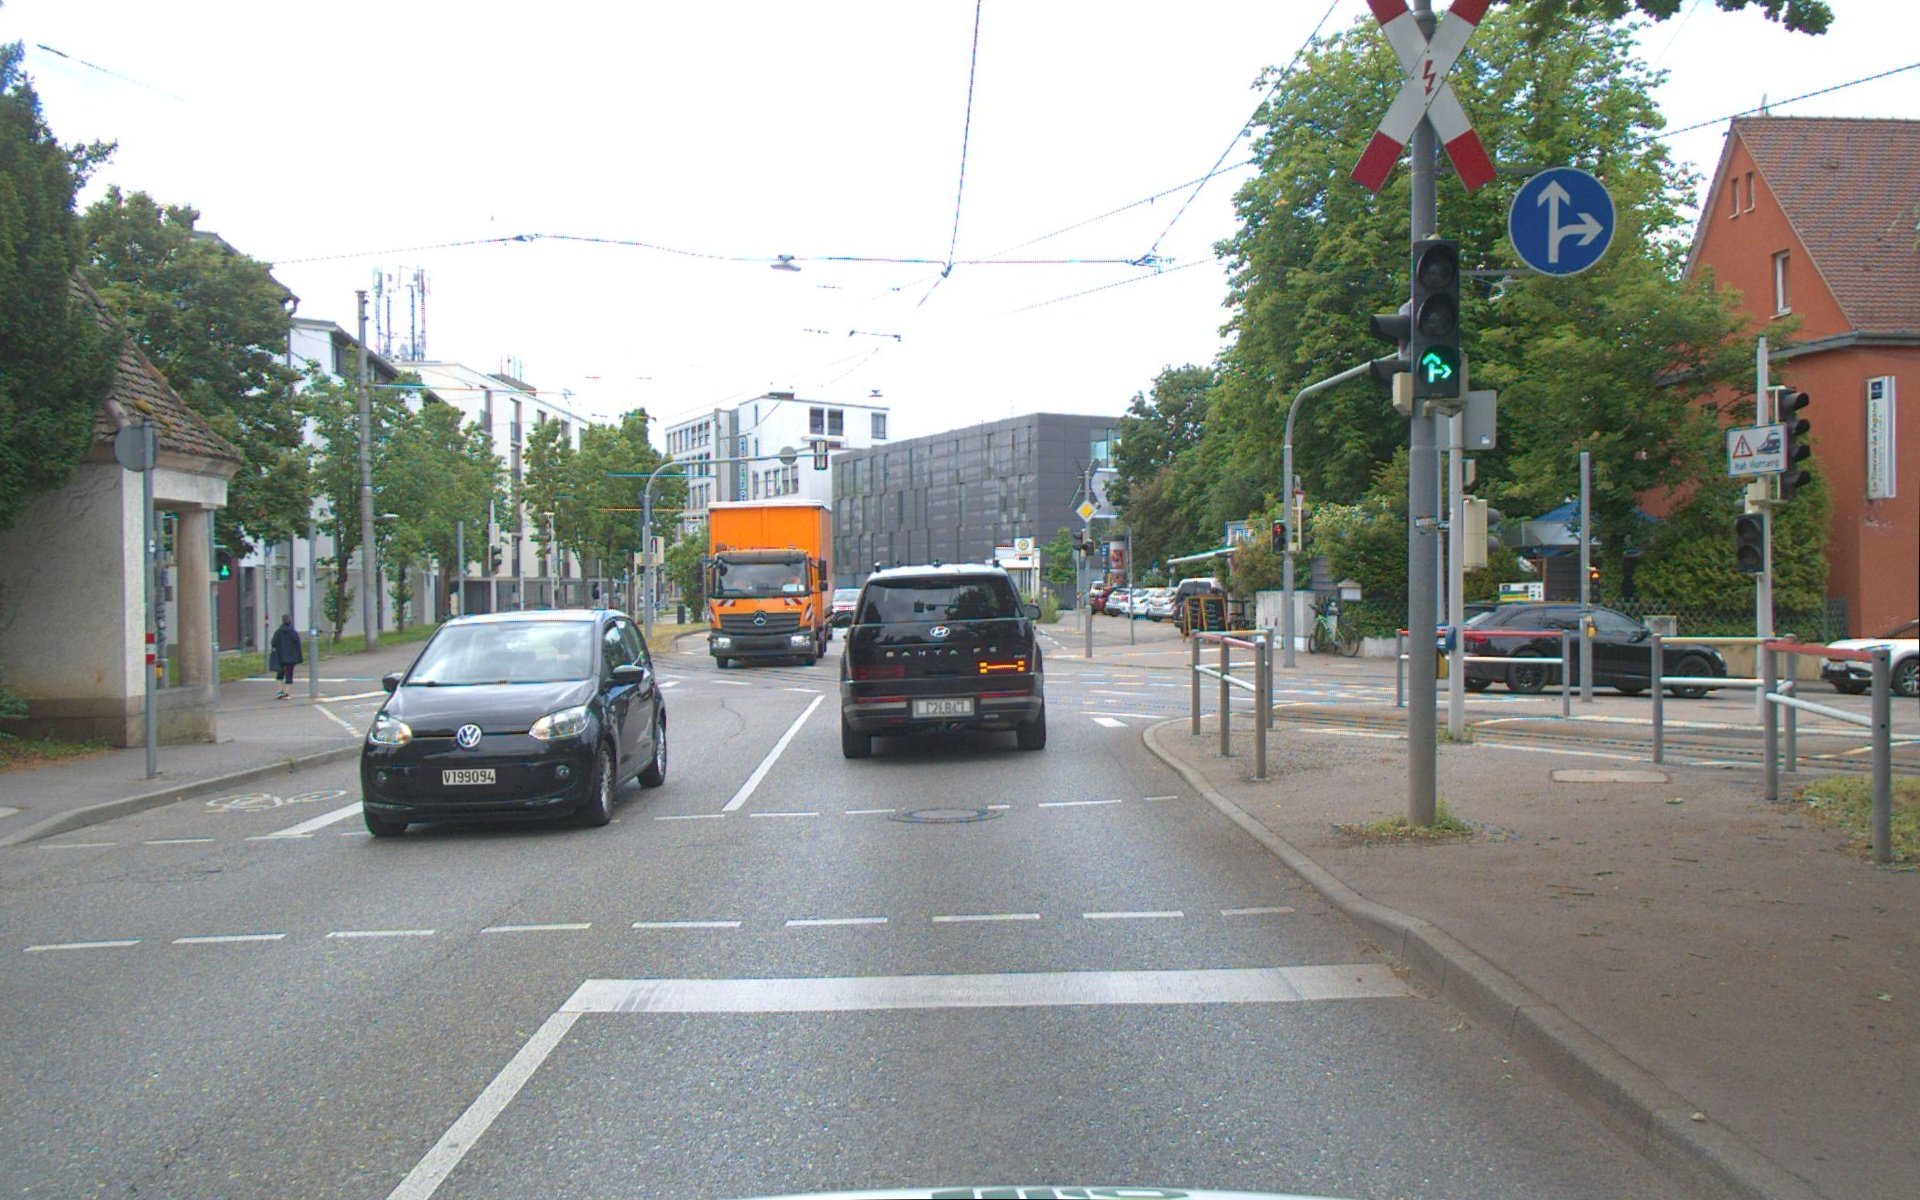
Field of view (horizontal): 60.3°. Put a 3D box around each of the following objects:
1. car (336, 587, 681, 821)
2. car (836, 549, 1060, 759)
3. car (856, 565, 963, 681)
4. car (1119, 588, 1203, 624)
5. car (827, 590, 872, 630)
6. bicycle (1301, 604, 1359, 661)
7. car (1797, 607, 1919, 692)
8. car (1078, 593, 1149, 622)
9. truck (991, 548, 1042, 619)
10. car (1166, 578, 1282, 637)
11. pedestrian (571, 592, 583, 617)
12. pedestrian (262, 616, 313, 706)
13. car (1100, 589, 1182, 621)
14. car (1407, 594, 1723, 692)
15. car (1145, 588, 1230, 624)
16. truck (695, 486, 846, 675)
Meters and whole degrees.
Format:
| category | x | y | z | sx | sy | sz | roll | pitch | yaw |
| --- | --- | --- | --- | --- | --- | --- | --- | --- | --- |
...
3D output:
| category | x | y | z | sx | sy | sz | roll | pitch | yaw |
| --- | --- | --- | --- | --- | --- | --- | --- | --- | --- |
| car | -3.201 | 0.661 | 12.473 | 1.630 | 1.474 | 3.826 | -1 | 0 | -2 |
| car | -0.210 | 0.445 | 16.095 | 1.877 | 1.755 | 4.168 | 1 | 0 | -3 |
| car | -1.060 | 0.394 | 32.269 | 1.819 | 2.069 | 4.433 | -1 | 1 | -5 |
| car | 9.274 | 0.256 | 76.253 | 3.598 | 1.460 | 1.577 | -3 | -1 | -28 |
| car | -4.894 | 0.439 | 73.834 | 1.752 | 1.690 | 4.276 | -2 | 0 | -1 |
| bicycle | 8.545 | 0.736 | 38.258 | 0.538 | 1.158 | 1.872 | 0 | 3 | -13 |
| car | 18.029 | 0.885 | 30.462 | 4.424 | 1.489 | 1.994 | 0 | 0 | -12 |
| car | 8.125 | 0.414 | 87.417 | 3.454 | 1.481 | 1.664 | 1 | -1 | -29 |
| truck | 2.953 | -0.848 | 88.509 | 2.520 | 3.587 | 7.811 | -1 | 0 | 1 |
| car | 8.667 | 0.222 | 54.015 | 1.814 | 1.779 | 4.677 | -1 | 1 | 36 |
| pedestrian | -25.817 | 0.297 | 111.527 | 0.601 | 1.724 | 0.785 | 0 | -1 | -2 |
| pedestrian | -13.251 | 1.190 | 32.615 | 0.662 | 1.673 | 0.818 | -2 | 2 | -7 |
| car | 9.019 | 0.279 | 82.304 | 3.753 | 1.499 | 1.779 | 2 | -1 | -31 |
| car | 9.710 | 0.663 | 26.689 | 4.424 | 1.489 | 1.994 | 0 | 0 | -12 |
| car | 9.835 | 0.251 | 71.388 | 3.472 | 1.402 | 1.530 | -2 | 2 | -32 |
| truck | -4.248 | -0.409 | 38.808 | 2.714 | 3.783 | 8.464 | -3 | 0 | -2 |
